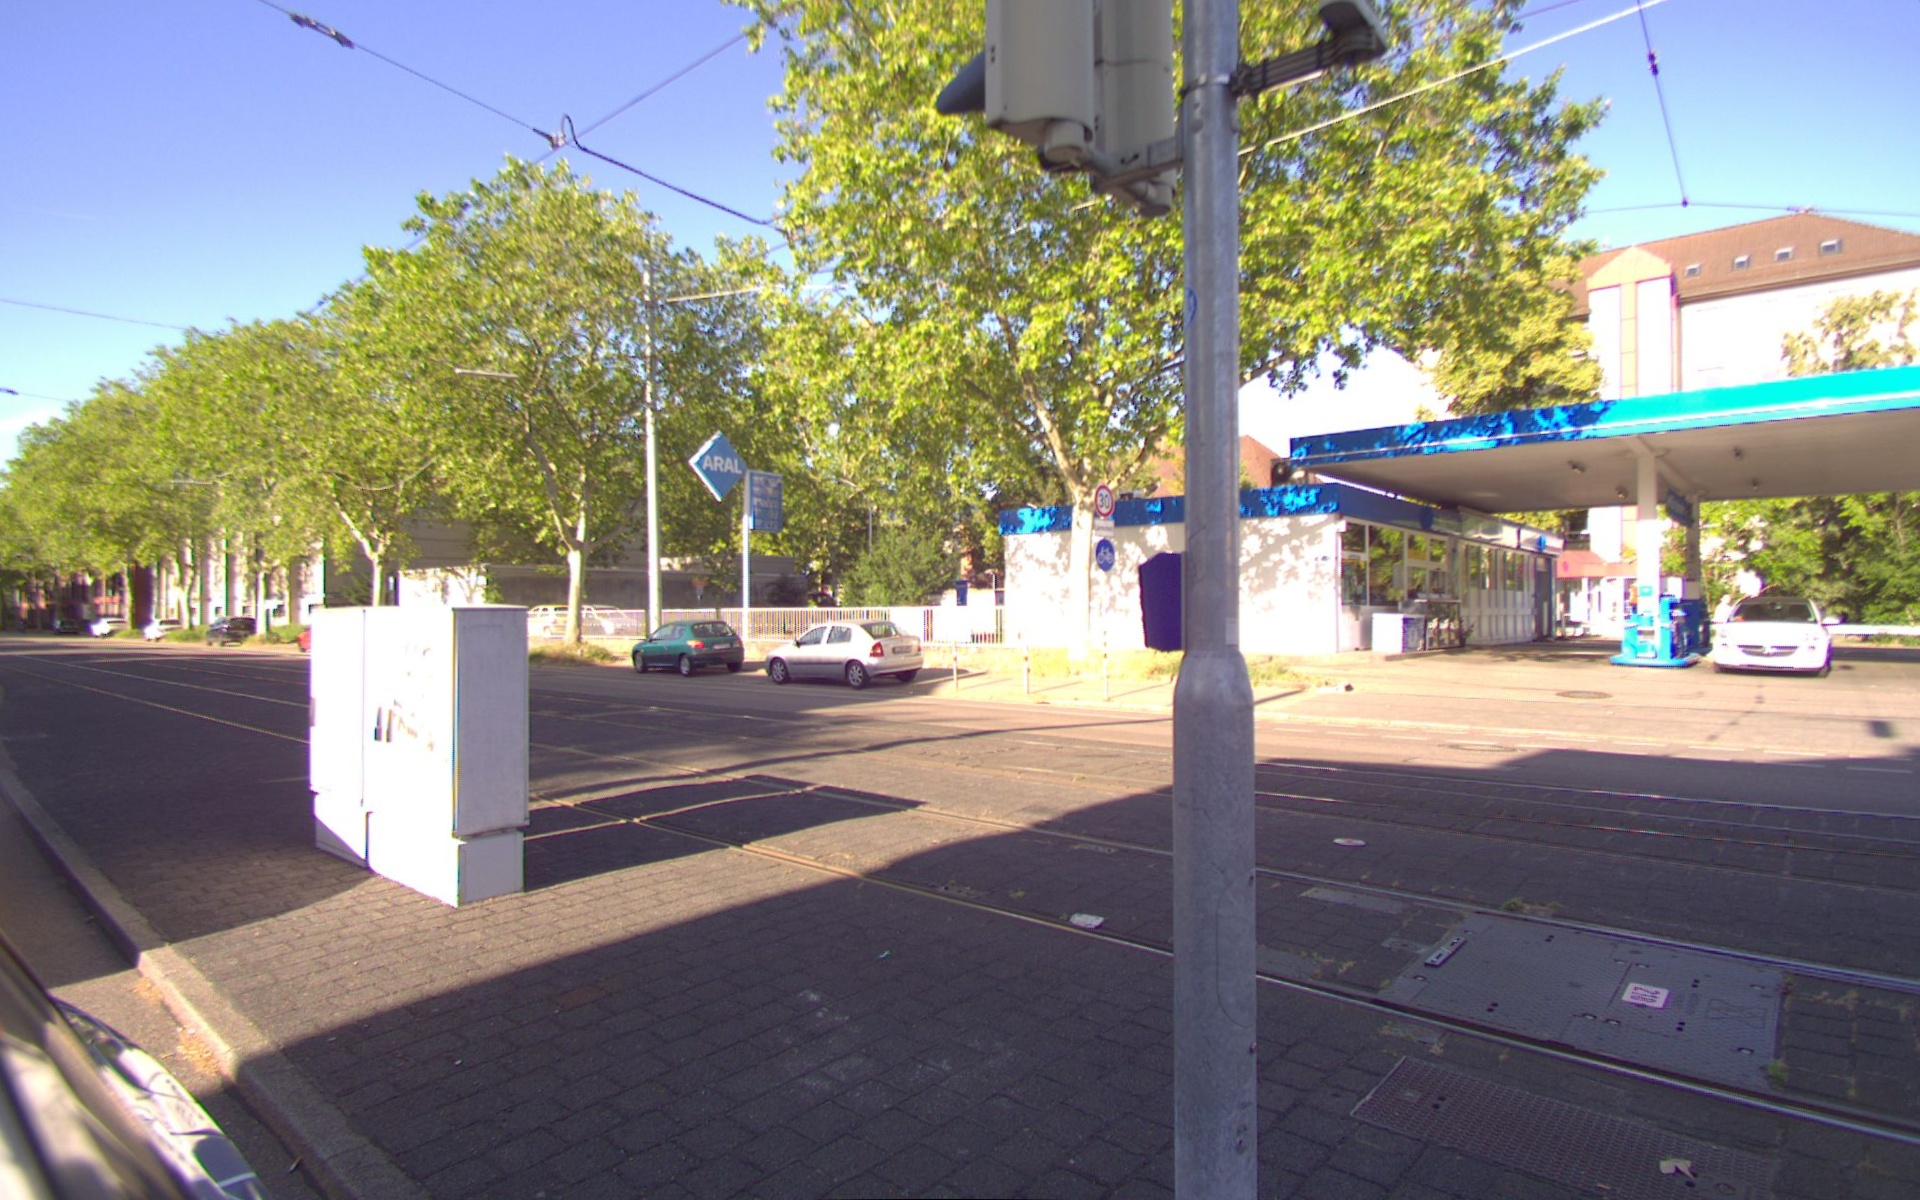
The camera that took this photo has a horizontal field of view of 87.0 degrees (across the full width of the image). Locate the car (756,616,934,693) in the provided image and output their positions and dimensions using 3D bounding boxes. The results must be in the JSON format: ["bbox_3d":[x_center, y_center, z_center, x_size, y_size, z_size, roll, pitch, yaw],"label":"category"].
[{"bbox_3d":[-2.635,1.154,22.664,3.965,1.475,1.771,-1,2,43],"label":"car"}]

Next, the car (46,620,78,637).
[{"bbox_3d":[-85.326,2.714,96.123,3.998,1.525,1.779,-1,-1,41],"label":"car"}]

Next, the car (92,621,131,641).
[{"bbox_3d":[-66.687,2.387,79.534,3.998,1.525,1.779,-1,-1,41],"label":"car"}]

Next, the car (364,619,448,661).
[{"bbox_3d":[-21.945,1.543,40.054,3.652,1.541,1.802,-1,-1,41],"label":"car"}]

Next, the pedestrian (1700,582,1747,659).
[{"bbox_3d":[17.238,0.468,22.847,0.761,1.705,0.578,-2,-2,44],"label":"pedestrian"}]

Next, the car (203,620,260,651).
[{"bbox_3d":[-40.758,1.943,56.594,3.998,1.674,1.779,-1,-1,41],"label":"car"}]

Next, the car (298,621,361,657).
[{"bbox_3d":[-28.559,1.743,45.802,3.045,1.519,1.620,-1,-1,41],"label":"car"}]

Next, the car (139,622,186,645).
[{"bbox_3d":[-53.723,2.254,68.167,3.998,1.509,1.779,-1,-1,41],"label":"car"}]

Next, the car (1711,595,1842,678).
[{"bbox_3d":[16.022,0.674,19.908,1.812,1.453,3.947,-1,-1,39],"label":"car"}]

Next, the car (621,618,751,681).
[{"bbox_3d":[-7.333,1.272,26.934,3.519,1.475,1.670,-1,2,43],"label":"car"}]
